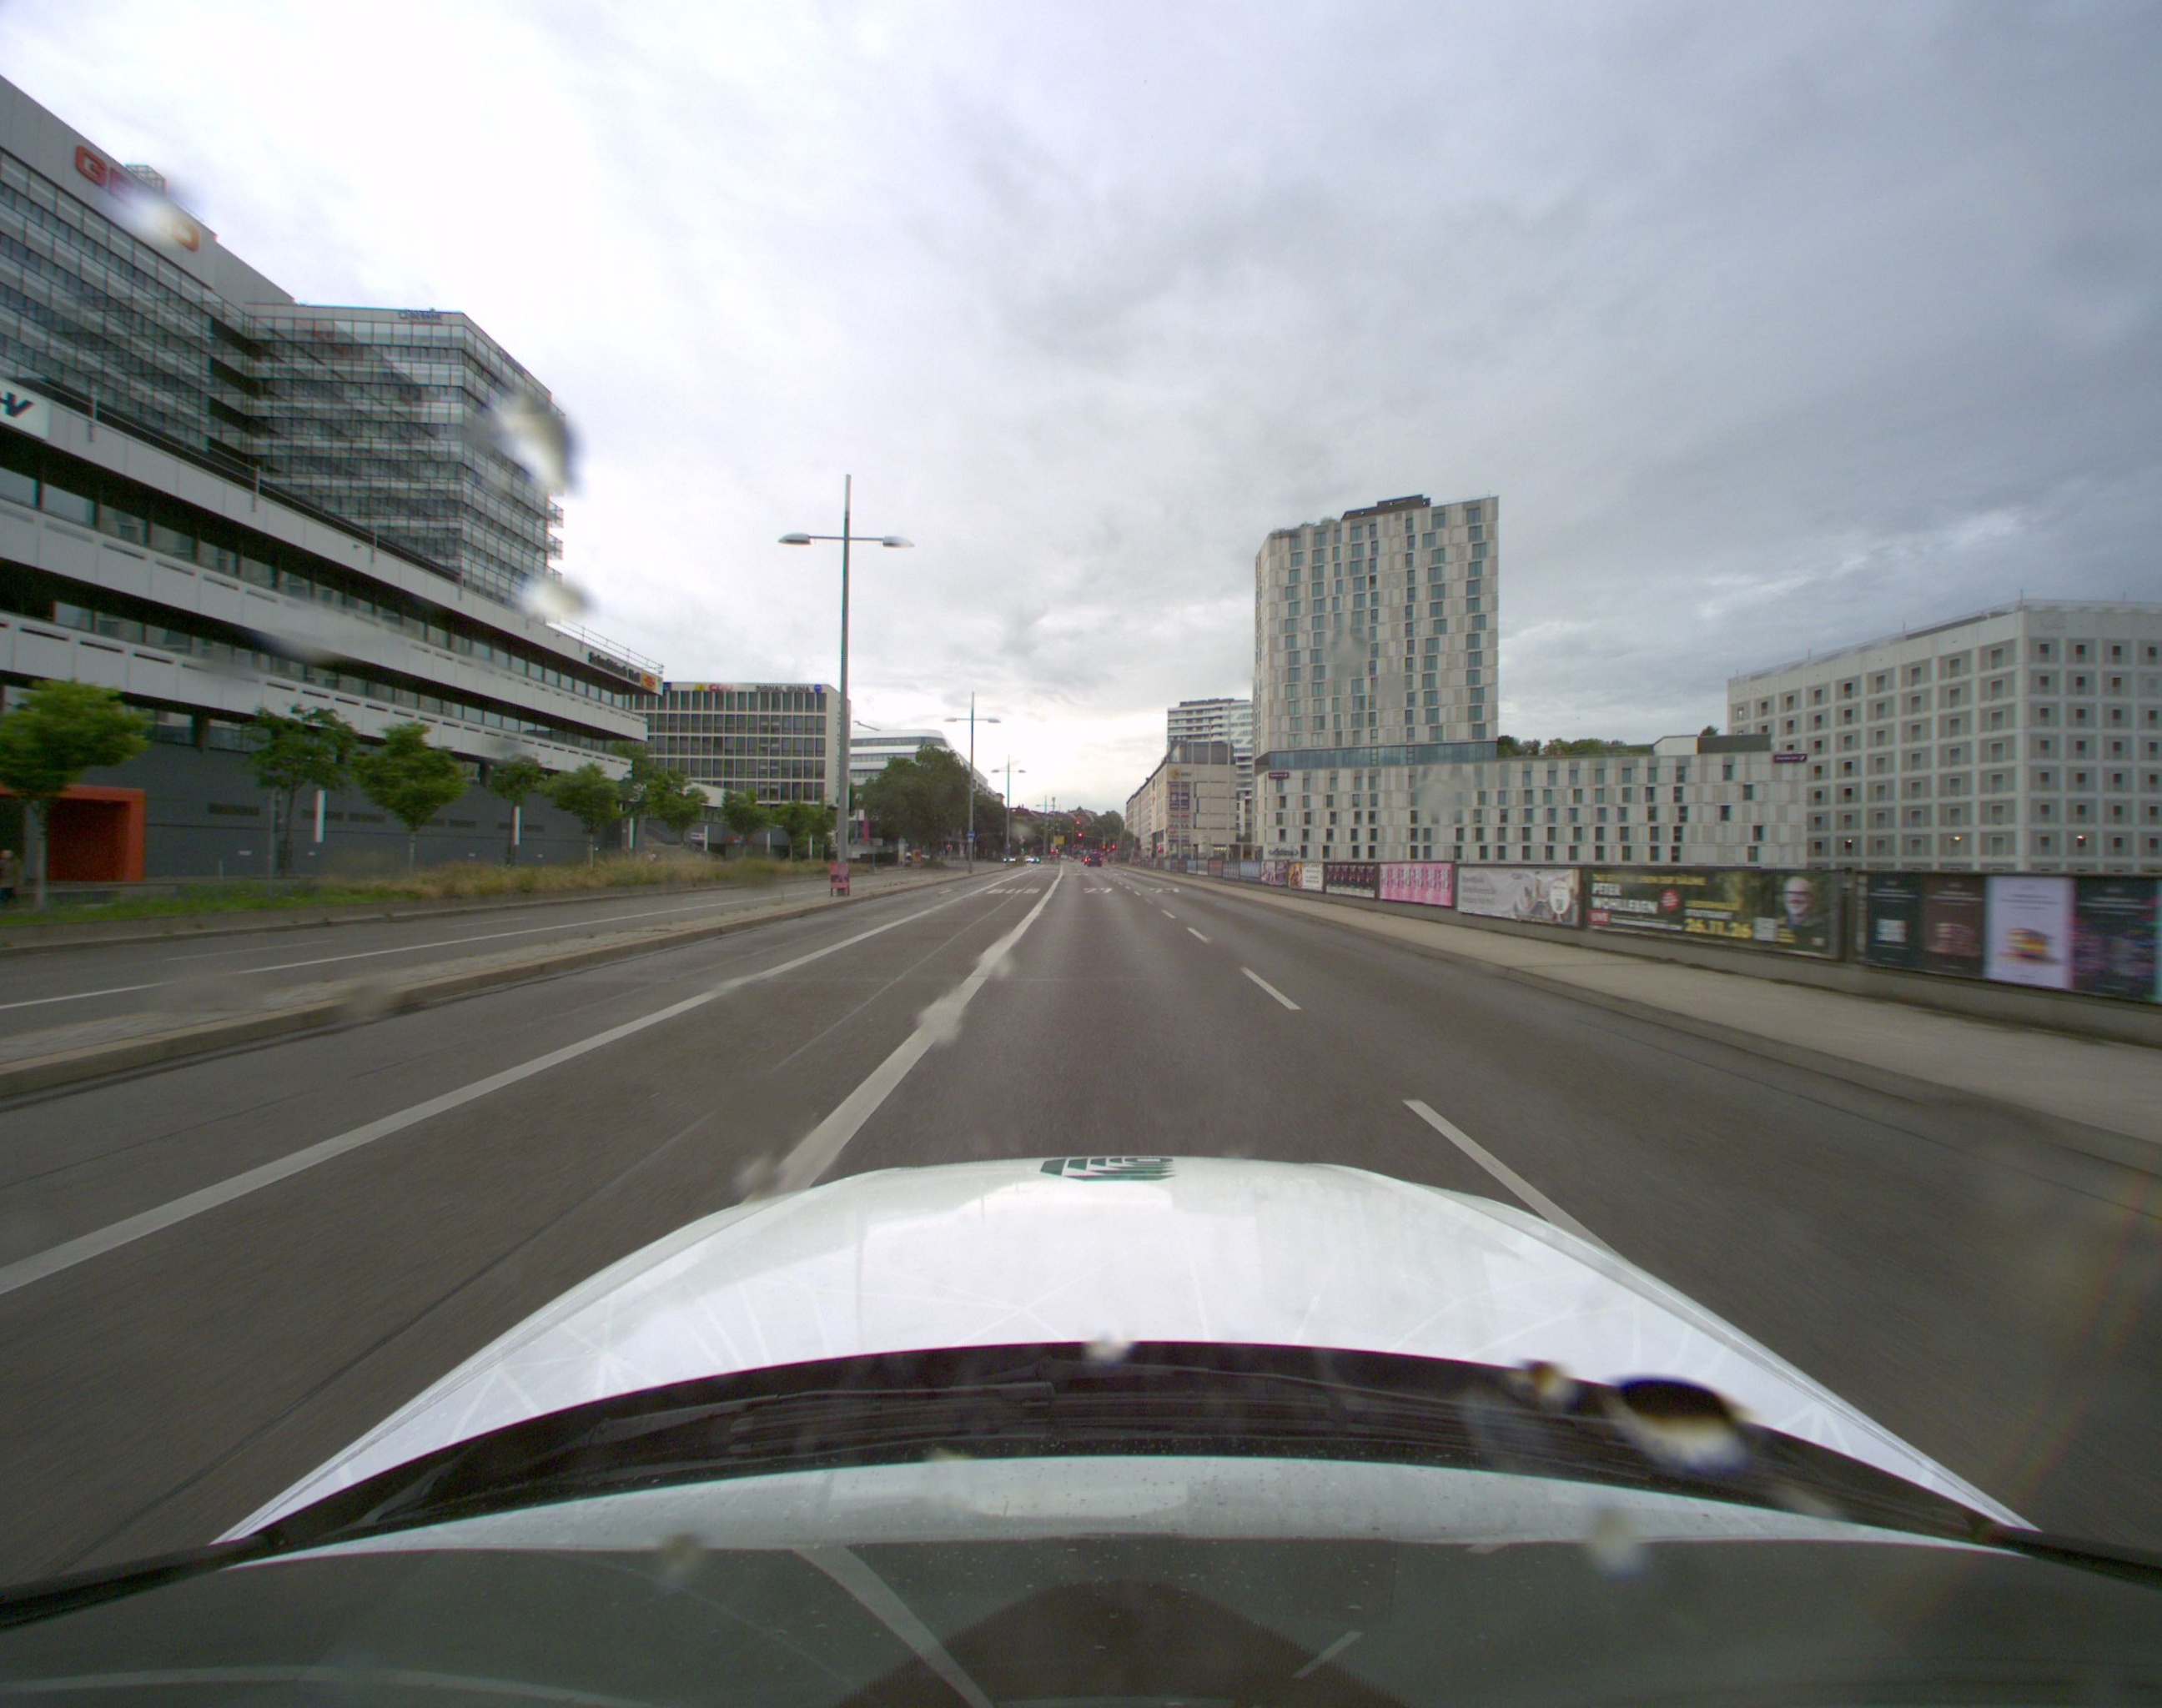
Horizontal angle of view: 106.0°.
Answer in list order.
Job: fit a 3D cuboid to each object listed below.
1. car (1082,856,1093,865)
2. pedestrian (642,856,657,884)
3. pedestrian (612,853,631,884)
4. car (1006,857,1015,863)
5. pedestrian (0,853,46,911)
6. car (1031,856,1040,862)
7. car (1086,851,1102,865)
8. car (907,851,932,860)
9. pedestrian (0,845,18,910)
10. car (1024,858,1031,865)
[{"bbox_3d":[1.088,1.117,141.333,1.735,1.531,3.812,0,-1,-1],"label":"car"},{"bbox_3d":[-28.351,1.067,53.522,0.627,1.808,0.628,0,-1,-1],"label":"pedestrian"},{"bbox_3d":[-26.879,0.839,47.639,0.782,1.808,0.628,0,-1,-1],"label":"pedestrian"},{"bbox_3d":[-16.282,1.364,187.204,1.738,1.328,4.223,0,-1,-1],"label":"car"},{"bbox_3d":[-27.083,0.709,20.655,0.615,1.446,0.798,0,-1,1],"label":"pedestrian"},{"bbox_3d":[-10.417,1.117,186.477,1.738,1.444,3.393,0,-1,-1],"label":"car"},{"bbox_3d":[1.803,0.526,116.450,2.027,1.882,5.040,-3,0,-1],"label":"car"},{"bbox_3d":[-31.408,0.306,158.524,4.468,1.631,1.902,-1,-1,15],"label":"car"},{"bbox_3d":[-27.835,0.592,20.673,0.615,1.658,0.798,0,-1,1],"label":"pedestrian"},{"bbox_3d":[-13.745,1.883,208.835,1.738,1.748,3.537,0,-1,-1],"label":"car"}]
